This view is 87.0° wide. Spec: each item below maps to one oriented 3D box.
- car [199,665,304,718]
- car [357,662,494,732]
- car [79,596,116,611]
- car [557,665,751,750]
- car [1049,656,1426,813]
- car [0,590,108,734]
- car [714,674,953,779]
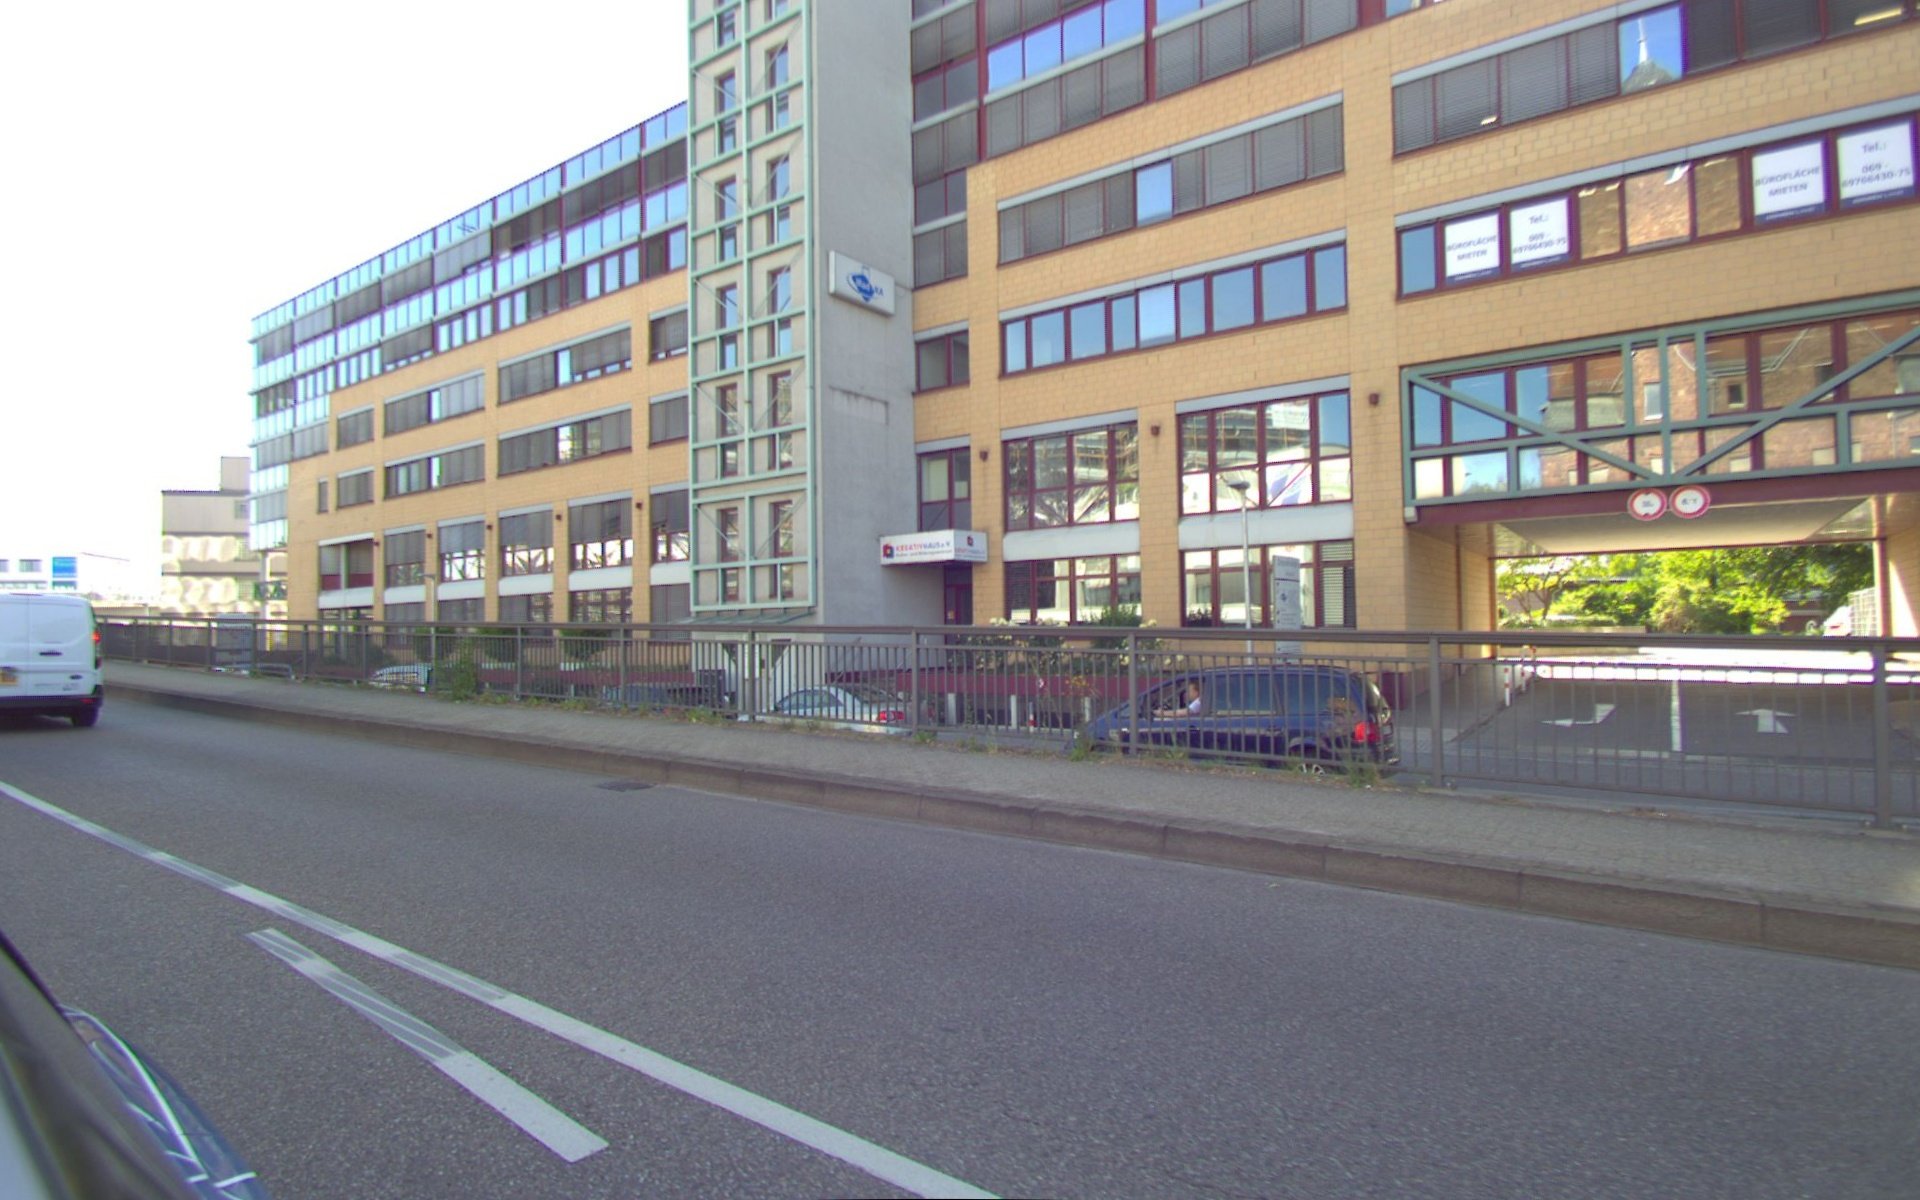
[{"bbox_3d":[-24.664,3.140,35.203,3.995,1.675,1.974,-3,-3,39],"label":"car"},{"bbox_3d":[-14.948,2.634,28.229,3.995,1.737,1.974,-3,-3,39],"label":"car"},{"bbox_3d":[-96.794,0.362,113.583,1.794,1.616,4.013,0,-1,-20],"label":"car"},{"bbox_3d":[-6.715,2.259,22.017,4.348,1.616,1.804,-2,-3,36],"label":"car"},{"bbox_3d":[3.774,1.722,14.123,4.676,1.771,1.934,-3,-2,35],"label":"car"},{"bbox_3d":[-14.120,0.878,14.512,5.111,1.815,1.793,-3,-3,37],"label":"car"},{"bbox_3d":[-2.401,2.226,18.678,4.348,1.616,1.804,-2,-3,36],"label":"car"}]
